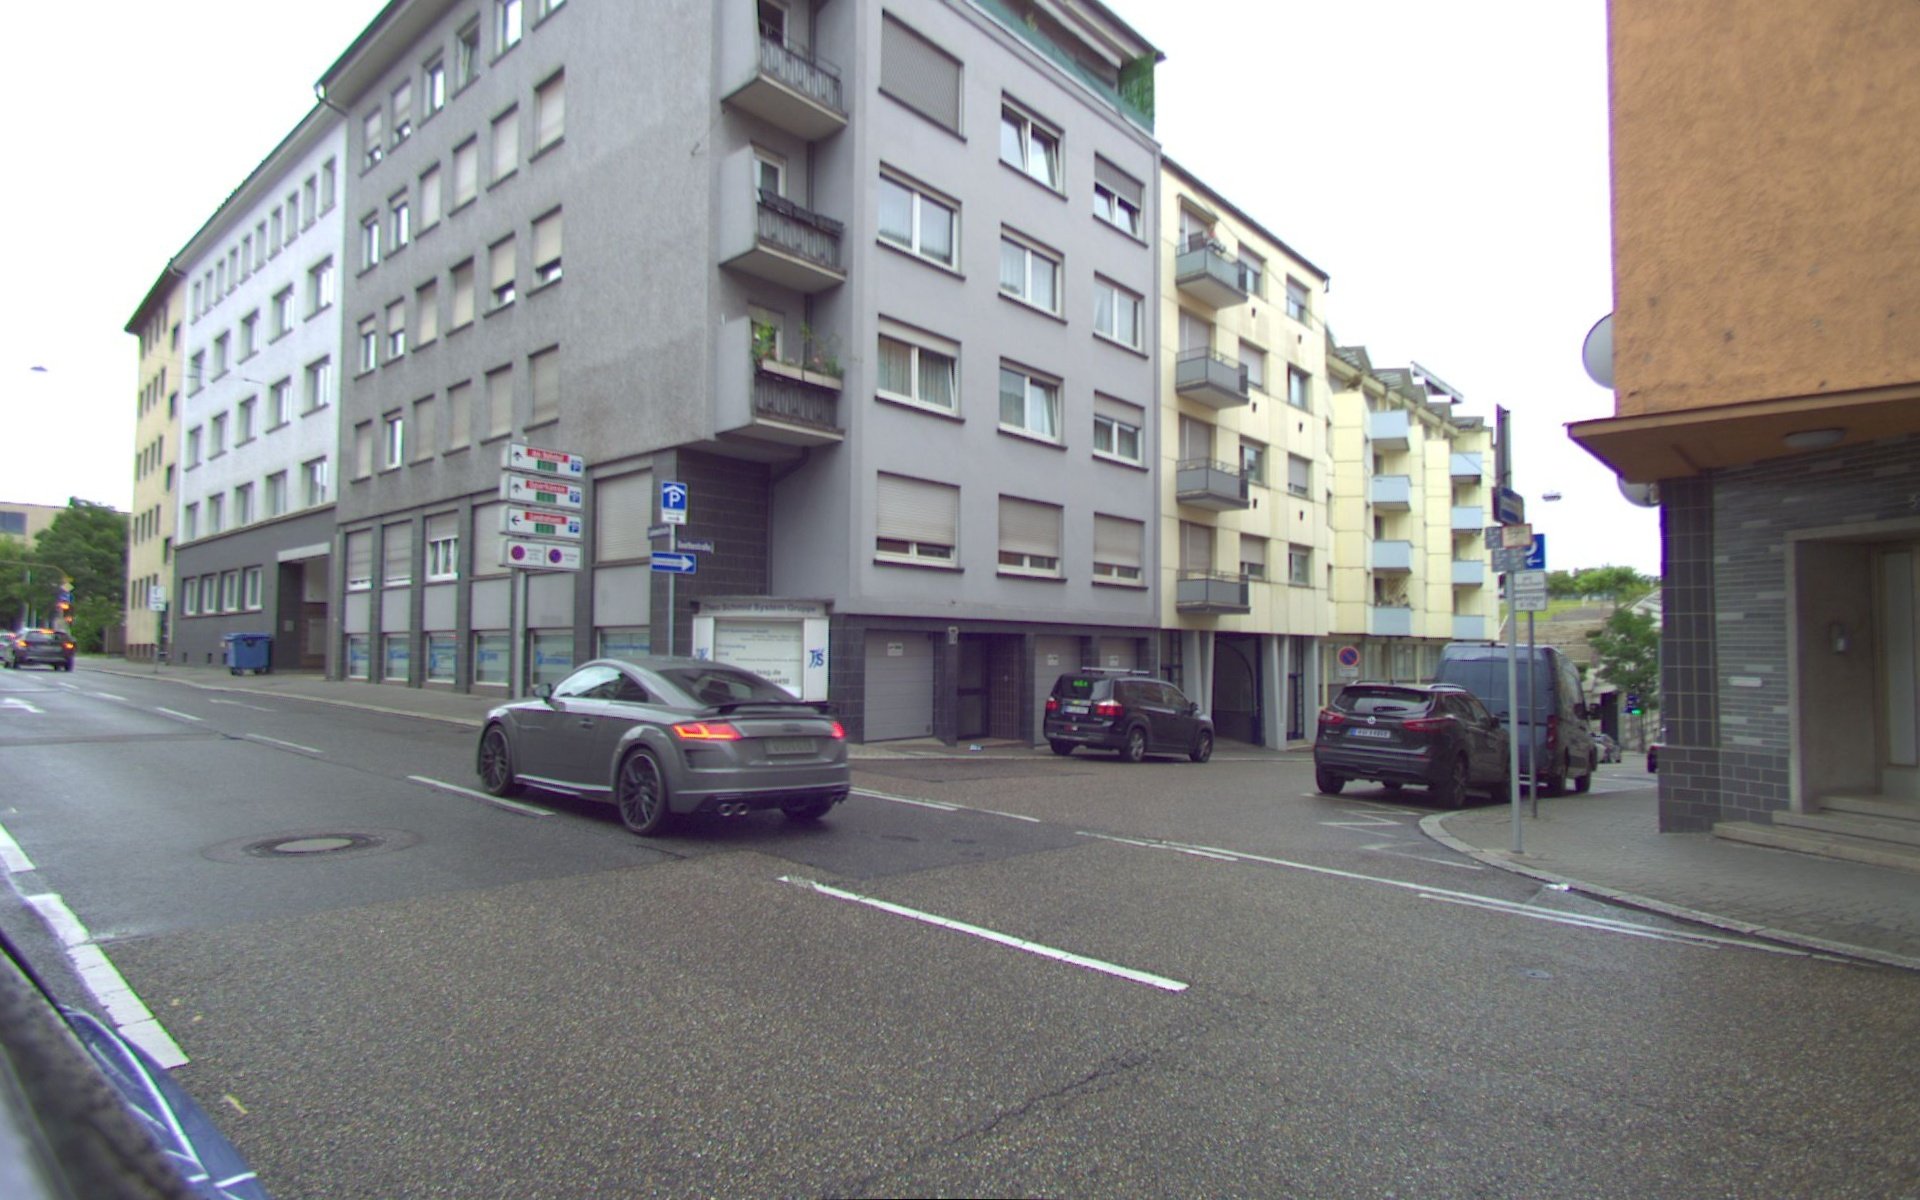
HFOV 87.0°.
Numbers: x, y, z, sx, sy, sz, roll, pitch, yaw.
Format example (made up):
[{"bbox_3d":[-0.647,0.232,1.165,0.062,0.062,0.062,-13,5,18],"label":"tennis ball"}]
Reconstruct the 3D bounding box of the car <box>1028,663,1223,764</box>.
[{"bbox_3d":[3.354,2.278,19.905,1.794,1.700,4.186,-1,-8,41],"label":"car"}]

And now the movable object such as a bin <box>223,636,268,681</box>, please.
[{"bbox_3d":[-22.858,1.851,32.371,1.096,1.343,0.933,-1,0,41],"label":"movable object such as a bin"}]

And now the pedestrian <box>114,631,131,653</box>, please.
[{"bbox_3d":[-46.294,2.309,55.938,0.407,1.158,0.575,-2,-6,42],"label":"pedestrian"}]

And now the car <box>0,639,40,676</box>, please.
[{"bbox_3d":[-43.980,2.619,46.603,4.371,1.602,1.858,-1,-3,41],"label":"car"}]

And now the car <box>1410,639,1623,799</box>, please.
[{"bbox_3d":[10.503,2.214,18.800,2.249,2.481,5.975,-1,-7,41],"label":"car"}]

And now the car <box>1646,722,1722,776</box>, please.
[{"bbox_3d":[25.934,5.331,36.206,1.817,1.688,3.998,-1,-8,41],"label":"car"}]

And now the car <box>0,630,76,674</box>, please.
[{"bbox_3d":[-35.096,1.962,38.389,4.157,1.519,1.685,-1,-5,41],"label":"car"}]

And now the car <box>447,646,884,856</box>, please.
[{"bbox_3d":[-2.681,1.162,8.812,3.886,1.356,1.749,-1,-6,41],"label":"car"}]

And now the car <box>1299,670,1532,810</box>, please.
[{"bbox_3d":[6.469,1.950,14.113,1.842,1.589,4.098,-1,-8,41],"label":"car"}]

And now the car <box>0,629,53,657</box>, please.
[{"bbox_3d":[-54.840,2.463,58.188,3.938,1.505,1.775,-1,0,-41],"label":"car"}]
